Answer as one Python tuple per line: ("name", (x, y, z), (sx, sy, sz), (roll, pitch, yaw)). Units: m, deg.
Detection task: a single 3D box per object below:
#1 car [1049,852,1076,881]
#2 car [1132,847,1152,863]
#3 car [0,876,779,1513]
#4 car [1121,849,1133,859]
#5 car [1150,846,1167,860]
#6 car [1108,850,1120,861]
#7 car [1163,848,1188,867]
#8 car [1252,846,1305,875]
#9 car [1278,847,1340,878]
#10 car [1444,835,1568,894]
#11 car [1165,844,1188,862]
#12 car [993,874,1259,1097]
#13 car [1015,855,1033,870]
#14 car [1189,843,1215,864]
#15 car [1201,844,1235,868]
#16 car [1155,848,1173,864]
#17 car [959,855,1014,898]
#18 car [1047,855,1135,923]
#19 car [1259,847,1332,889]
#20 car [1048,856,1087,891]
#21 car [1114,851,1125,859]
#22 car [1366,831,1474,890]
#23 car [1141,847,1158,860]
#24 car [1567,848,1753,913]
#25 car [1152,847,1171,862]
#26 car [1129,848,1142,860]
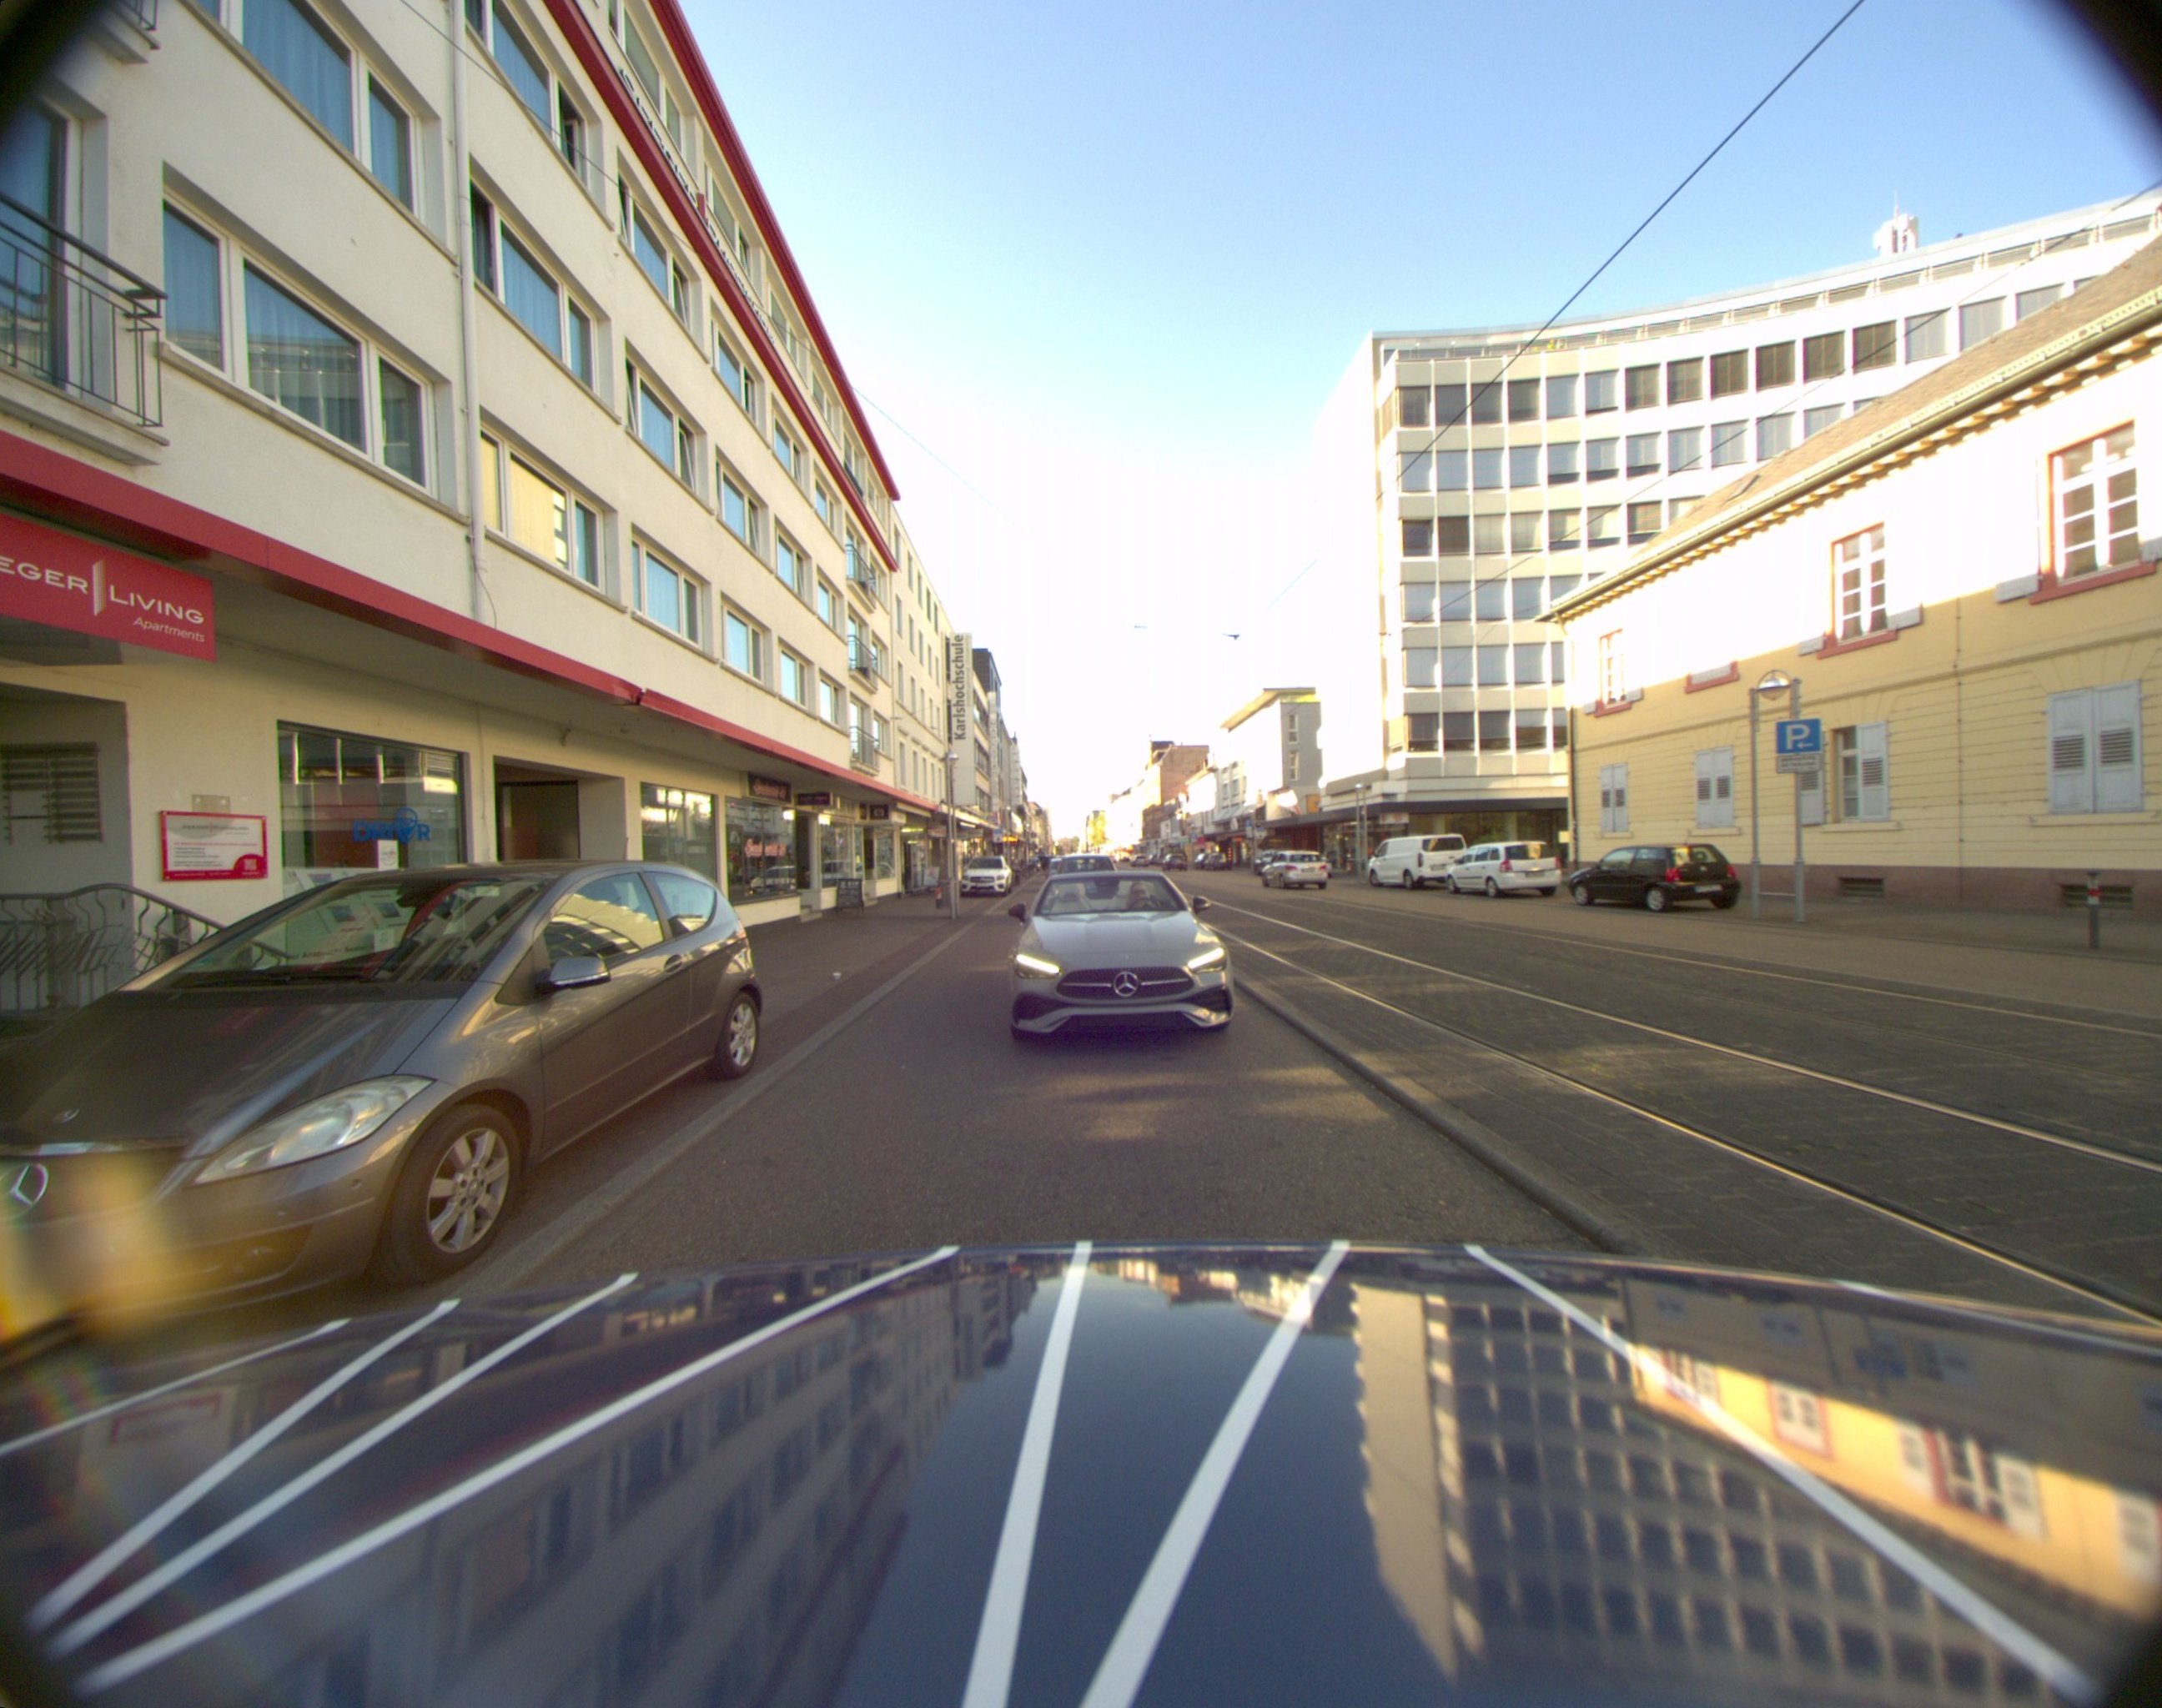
("car", (-1.169, 0.742, 48.134), (1.573, 1.670, 3.688), (-2, 1, -1))
("car", (7.532, 0.150, 93.955), (1.914, 1.883, 3.855), (-2, 1, -2))
("car", (-3.210, 0.971, 3.966), (1.683, 1.537, 3.999), (-2, 0, -1))
("car", (9.533, -0.060, 157.314), (1.999, 2.002, 3.999), (-1, 0, -2))
("car", (11.397, -0.201, 111.838), (1.999, 2.002, 3.998), (-2, 1, -2))
("car", (6.587, 0.344, 150.617), (1.999, 2.002, 3.998), (-2, 1, -2))
("car", (8.419, 0.307, 67.859), (1.964, 1.499, 4.000), (-2, 1, 3))
("car", (12.324, 0.362, 47.665), (1.999, 1.694, 4.107), (-3, 1, -2))
("car", (12.584, 0.422, 42.234), (1.999, 1.521, 4.373), (-2, 1, -1))
("car", (12.775, 0.267, 23.146), (1.641, 1.600, 4.005), (-2, 1, 3))
("car", (11.333, -0.072, 90.478), (2.200, 2.030, 3.999), (-1, 0, -1))
("car", (0.192, 0.996, 7.478), (1.884, 1.375, 3.998), (-2, 1, -4))
("car", (-6.214, 0.888, 82.641), (1.714, 1.430, 3.756), (-2, 1, -1))
("car", (11.764, -0.066, 74.249), (1.789, 1.871, 3.999), (-2, 1, -1))
("car", (11.750, 0.148, 65.394), (1.999, 1.849, 3.998), (-2, 1, -2))
("car", (10.943, 0.240, 100.830), (1.998, 2.002, 4.000), (-1, 0, 1))
("car", (-3.851, 0.889, 31.699), (1.999, 1.620, 3.998), (-1, 0, -4))
("car", (0.144, 0.829, 20.006), (1.927, 1.533, 3.998), (-2, 0, -4))
("car", (8.867, 0.556, 31.752), (1.760, 1.587, 3.999), (-1, 0, -2))
("car", (-0.661, 0.870, 35.727), (1.648, 1.506, 3.844), (-2, 0, -2))
("car", (9.022, 0.164, 176.607), (2.148, 1.850, 3.998), (-2, 1, -2))
("car", (12.677, 0.231, 28.769), (2.040, 2.002, 4.621), (-1, 0, 1))
("car", (10.963, -0.019, 122.230), (1.999, 2.002, 5.320), (-1, 0, -2))
("car", (12.838, 0.526, 17.105), (1.688, 1.246, 3.212), (-2, 1, -1))
("car", (11.114, 0.030, 105.476), (1.999, 2.002, 3.998), (-2, 1, -2))
("car", (9.884, -0.026, 138.045), (1.999, 2.002, 3.999), (-1, 0, -2))
